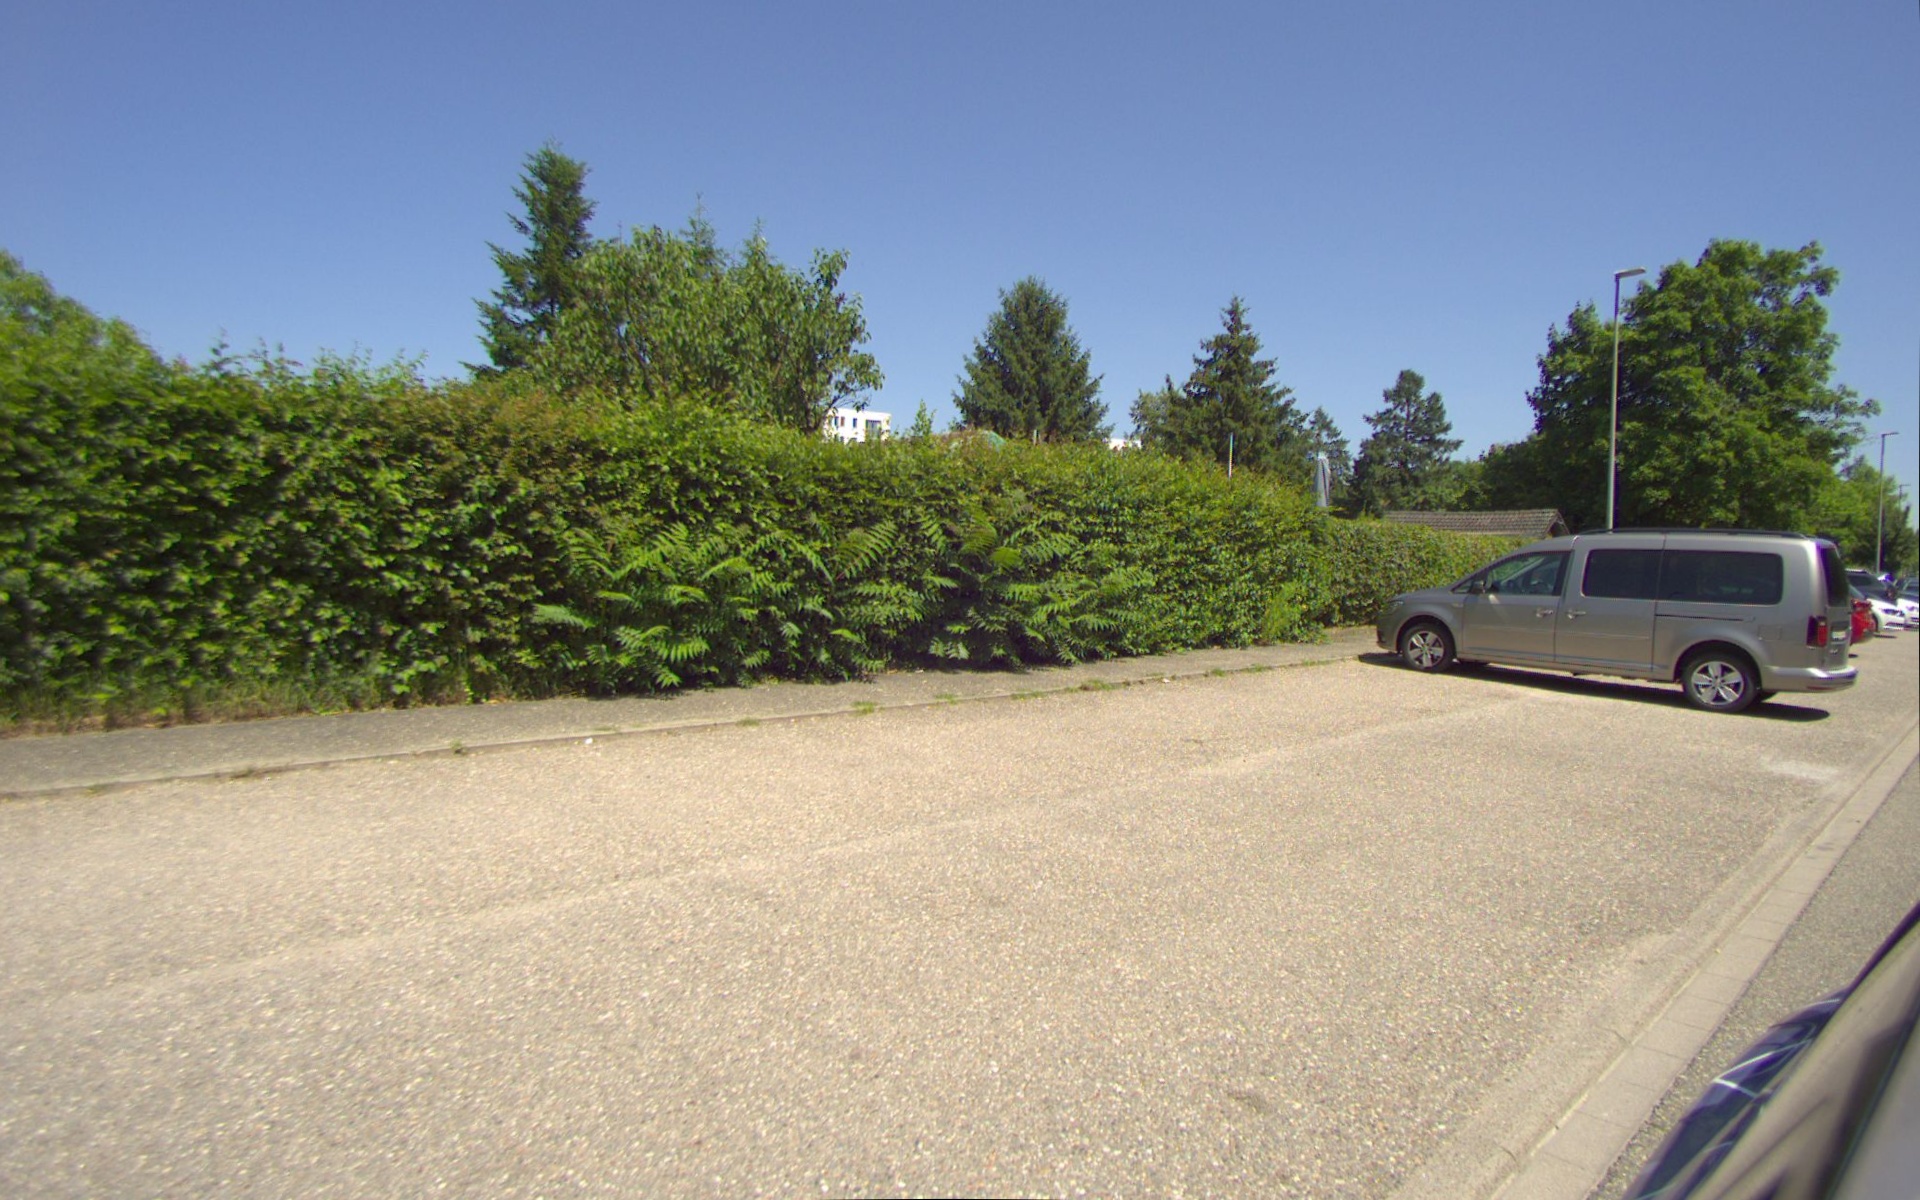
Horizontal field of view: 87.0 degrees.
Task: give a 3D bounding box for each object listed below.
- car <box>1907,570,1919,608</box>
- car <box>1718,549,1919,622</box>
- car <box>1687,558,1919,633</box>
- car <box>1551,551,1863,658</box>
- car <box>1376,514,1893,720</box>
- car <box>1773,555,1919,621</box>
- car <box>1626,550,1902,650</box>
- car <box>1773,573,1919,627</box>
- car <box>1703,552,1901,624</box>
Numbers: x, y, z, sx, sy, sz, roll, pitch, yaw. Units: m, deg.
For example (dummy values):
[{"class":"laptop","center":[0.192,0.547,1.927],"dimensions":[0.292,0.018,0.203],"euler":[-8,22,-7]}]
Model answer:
[{"class":"car","center":[40.983,-0.402,42.318],"dimensions":[1.791,1.499,4.591],"euler":[8,6,44]},{"class":"car","center":[25.545,-0.480,30.209],"dimensions":[1.822,1.718,4.268],"euler":[0,6,-42]},{"class":"car","center":[22.146,-0.192,26.648],"dimensions":[4.562,1.456,1.931],"euler":[9,6,44]},{"class":"car","center":[13.388,-0.009,18.332],"dimensions":[1.810,1.404,4.211],"euler":[0,6,-43]},{"class":"car","center":[7.650,0.008,11.911],"dimensions":[1.961,1.870,4.631],"euler":[0,5,-41]},{"class":"car","center":[29.429,-0.380,32.771],"dimensions":[1.882,1.723,4.480],"euler":[0,7,-43]},{"class":"car","center":[15.737,-0.073,19.966],"dimensions":[1.813,1.495,3.928],"euler":[0,6,-42]},{"class":"car","center":[27.816,-0.038,31.249],"dimensions":[1.801,1.470,4.002],"euler":[-1,3,-43]},{"class":"car","center":[23.629,-0.391,28.502],"dimensions":[1.730,1.566,4.054],"euler":[-1,7,-45]}]
